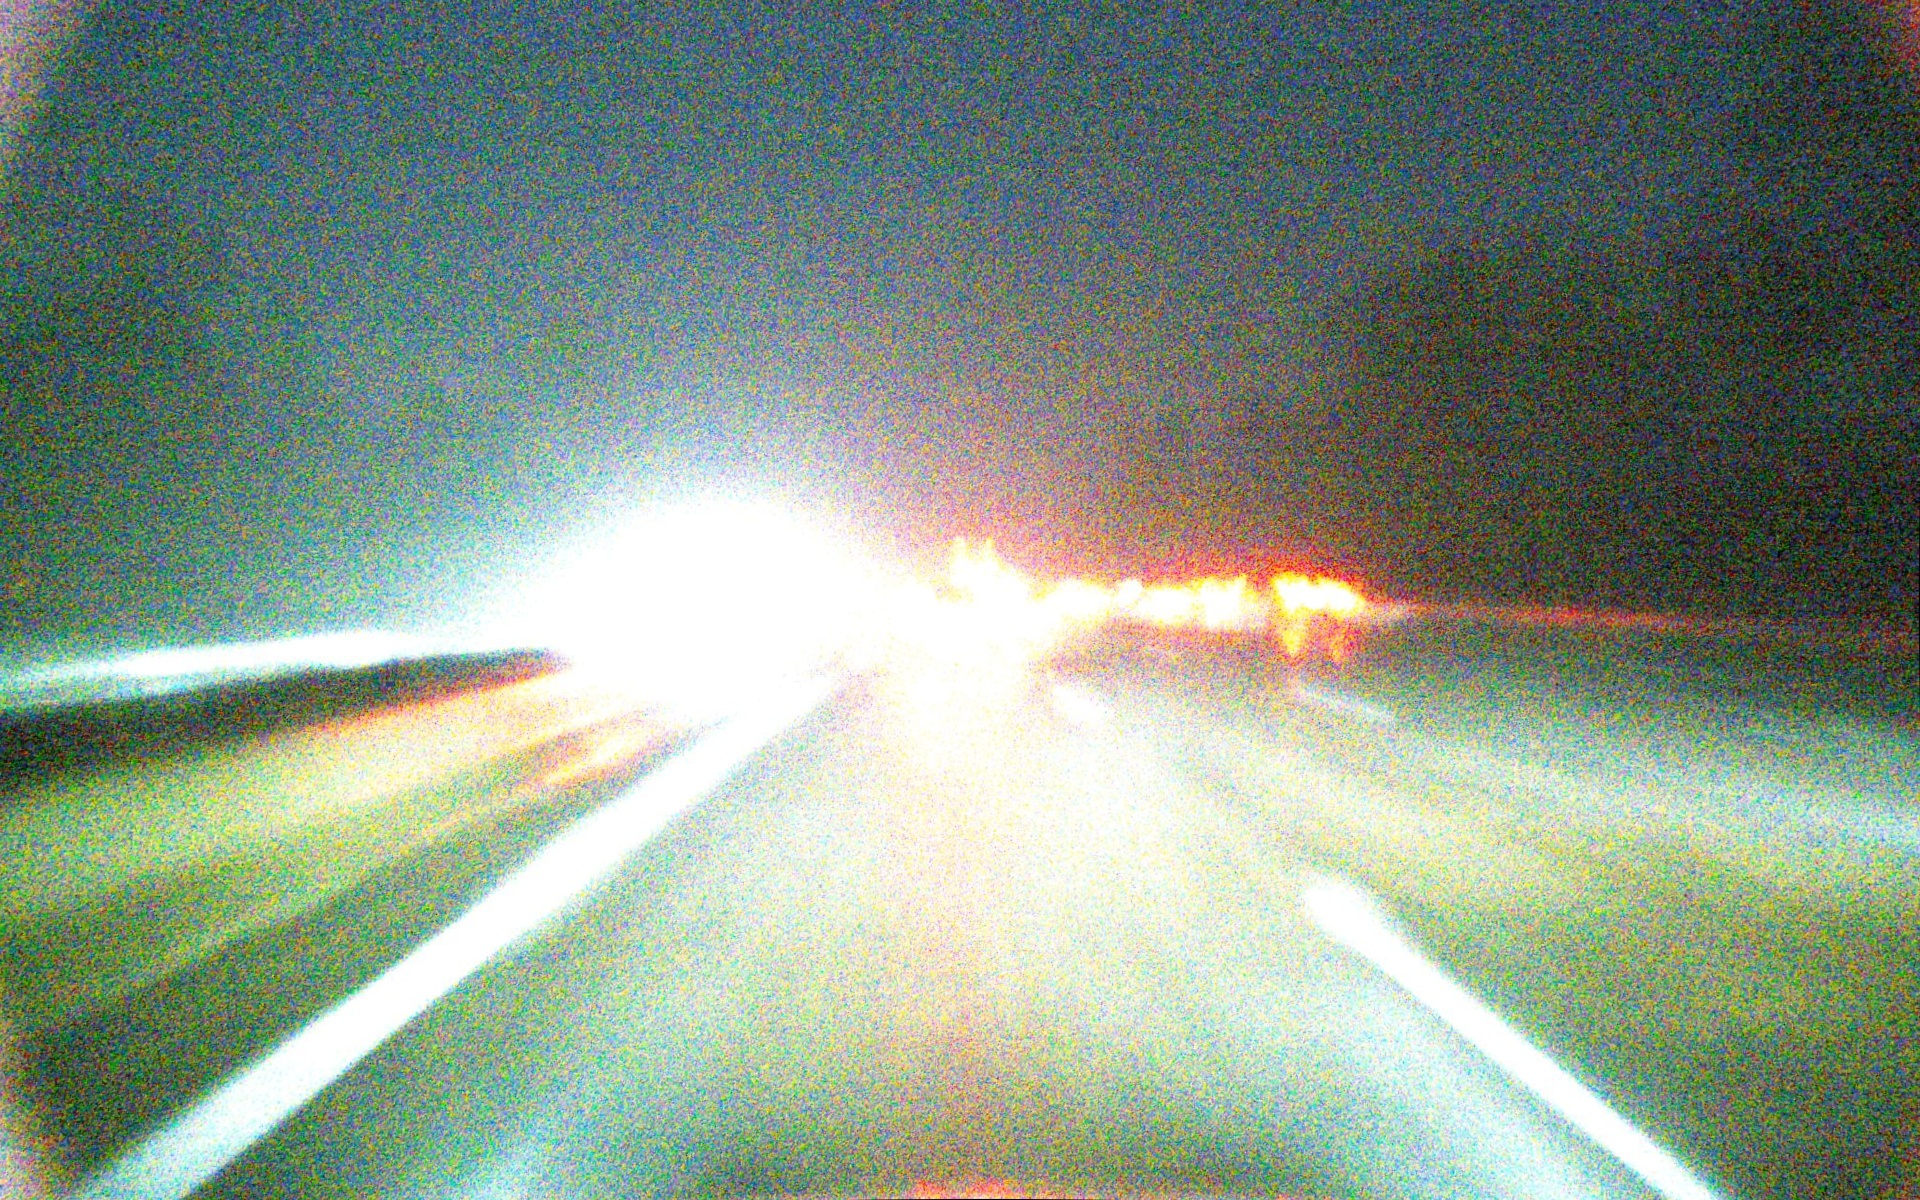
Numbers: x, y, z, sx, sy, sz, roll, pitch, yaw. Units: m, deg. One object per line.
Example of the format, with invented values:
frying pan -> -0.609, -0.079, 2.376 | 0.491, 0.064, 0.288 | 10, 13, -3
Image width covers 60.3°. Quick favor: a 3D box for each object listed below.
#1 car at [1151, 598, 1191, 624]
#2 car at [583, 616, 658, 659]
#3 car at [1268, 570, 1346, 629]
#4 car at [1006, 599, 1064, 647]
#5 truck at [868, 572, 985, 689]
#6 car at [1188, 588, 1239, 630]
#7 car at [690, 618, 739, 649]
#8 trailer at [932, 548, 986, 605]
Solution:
car -> 13.425, 0.696, 105.582 | 1.953, 1.628, 3.999 | 1, 0, -2
car -> -13.322, 1.454, 65.198 | 1.953, 1.552, 4.669 | 1, 0, 0
car -> 12.501, -0.036, 59.914 | 2.019, 2.049, 5.451 | 0, 0, 4
car -> 2.769, 0.848, 61.666 | 1.764, 1.645, 4.255 | -3, 0, -2
truck -> -0.751, 0.575, 33.571 | 2.102, 2.114, 6.600 | 1, 0, -3
car -> 12.615, 0.419, 82.554 | 2.185, 2.049, 4.002 | 0, 0, 4
car -> -13.296, 1.799, 89.829 | 1.953, 1.552, 4.669 | 1, 0, 0
trailer -> -0.164, -1.940, 141.249 | 2.688, 4.320, 13.352 | 6, 0, -7
